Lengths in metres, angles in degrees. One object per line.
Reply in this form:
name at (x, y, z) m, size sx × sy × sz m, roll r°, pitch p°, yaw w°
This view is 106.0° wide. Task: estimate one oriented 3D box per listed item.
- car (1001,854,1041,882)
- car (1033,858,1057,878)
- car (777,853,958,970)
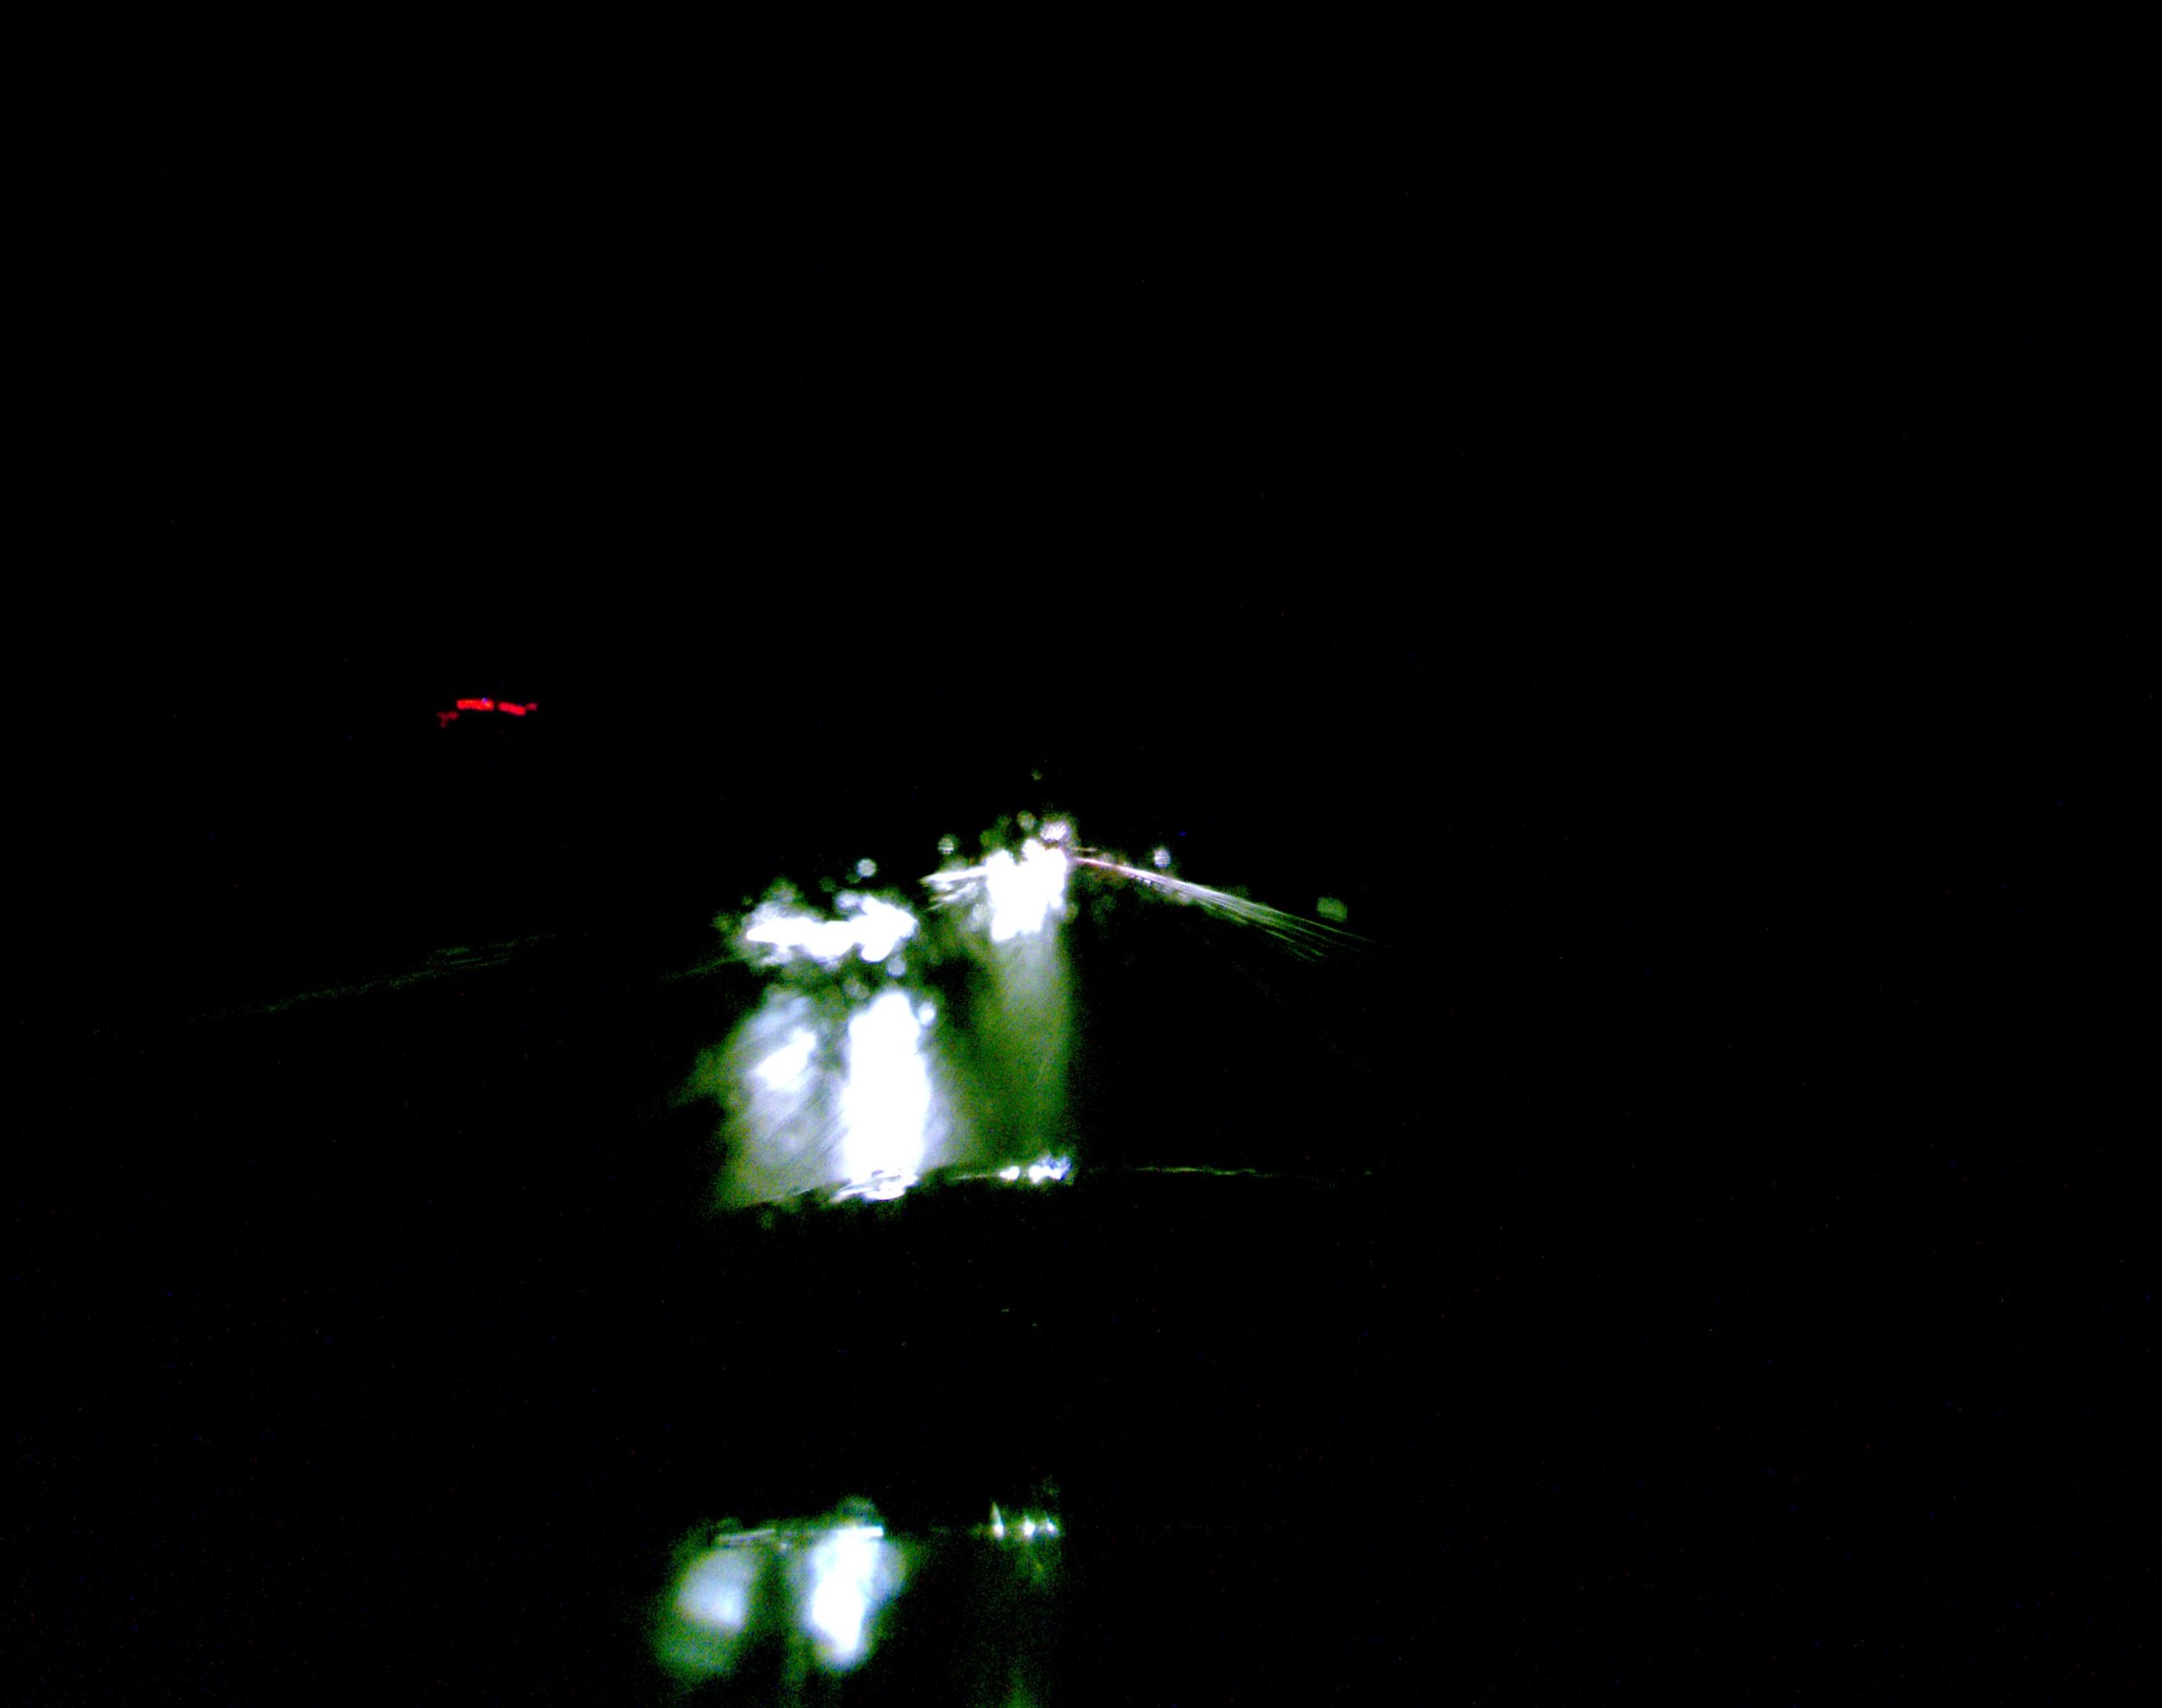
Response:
car at (-3.256, 0.733, 44.940) m, size 1.827 × 1.483 × 4.352 m, roll -1°, pitch 0°, yaw 0°
car at (-2.989, 1.141, 67.860) m, size 1.827 × 1.483 × 4.067 m, roll -1°, pitch 0°, yaw -1°
car at (-3.086, 0.758, 12.545) m, size 1.695 × 1.506 × 3.685 m, roll -1°, pitch 0°, yaw 2°
